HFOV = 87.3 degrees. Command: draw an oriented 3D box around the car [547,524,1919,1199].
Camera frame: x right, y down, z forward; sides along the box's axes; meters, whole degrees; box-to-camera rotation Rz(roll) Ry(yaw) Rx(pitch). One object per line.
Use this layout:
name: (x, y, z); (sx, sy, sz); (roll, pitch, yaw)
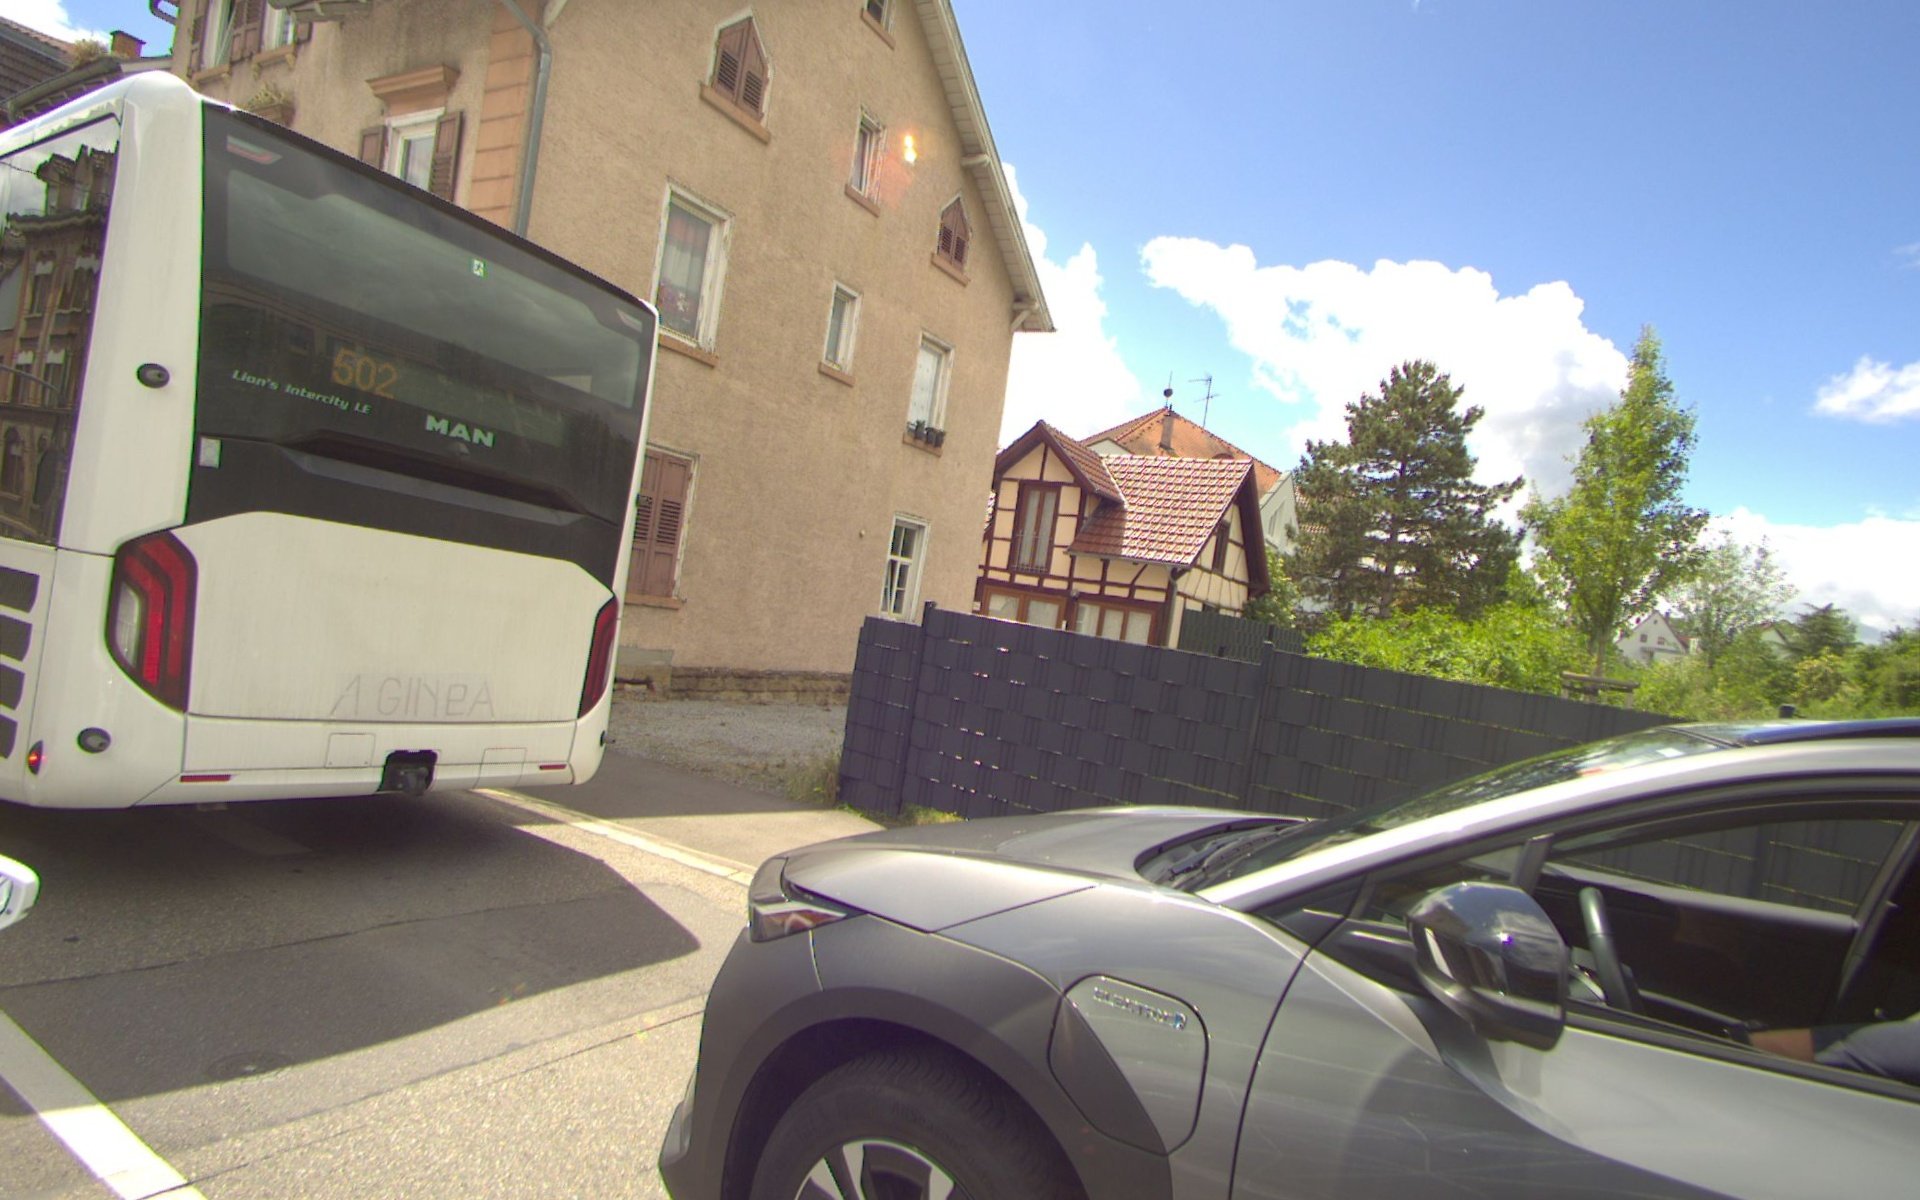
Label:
car: (1.598, 0.964, 1.866); (4.504, 1.648, 1.997); (7, -1, 31)

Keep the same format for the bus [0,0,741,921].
bus: (-7.413, -1.115, 7.816); (12.281, 3.551, 2.910); (6, -2, 32)
